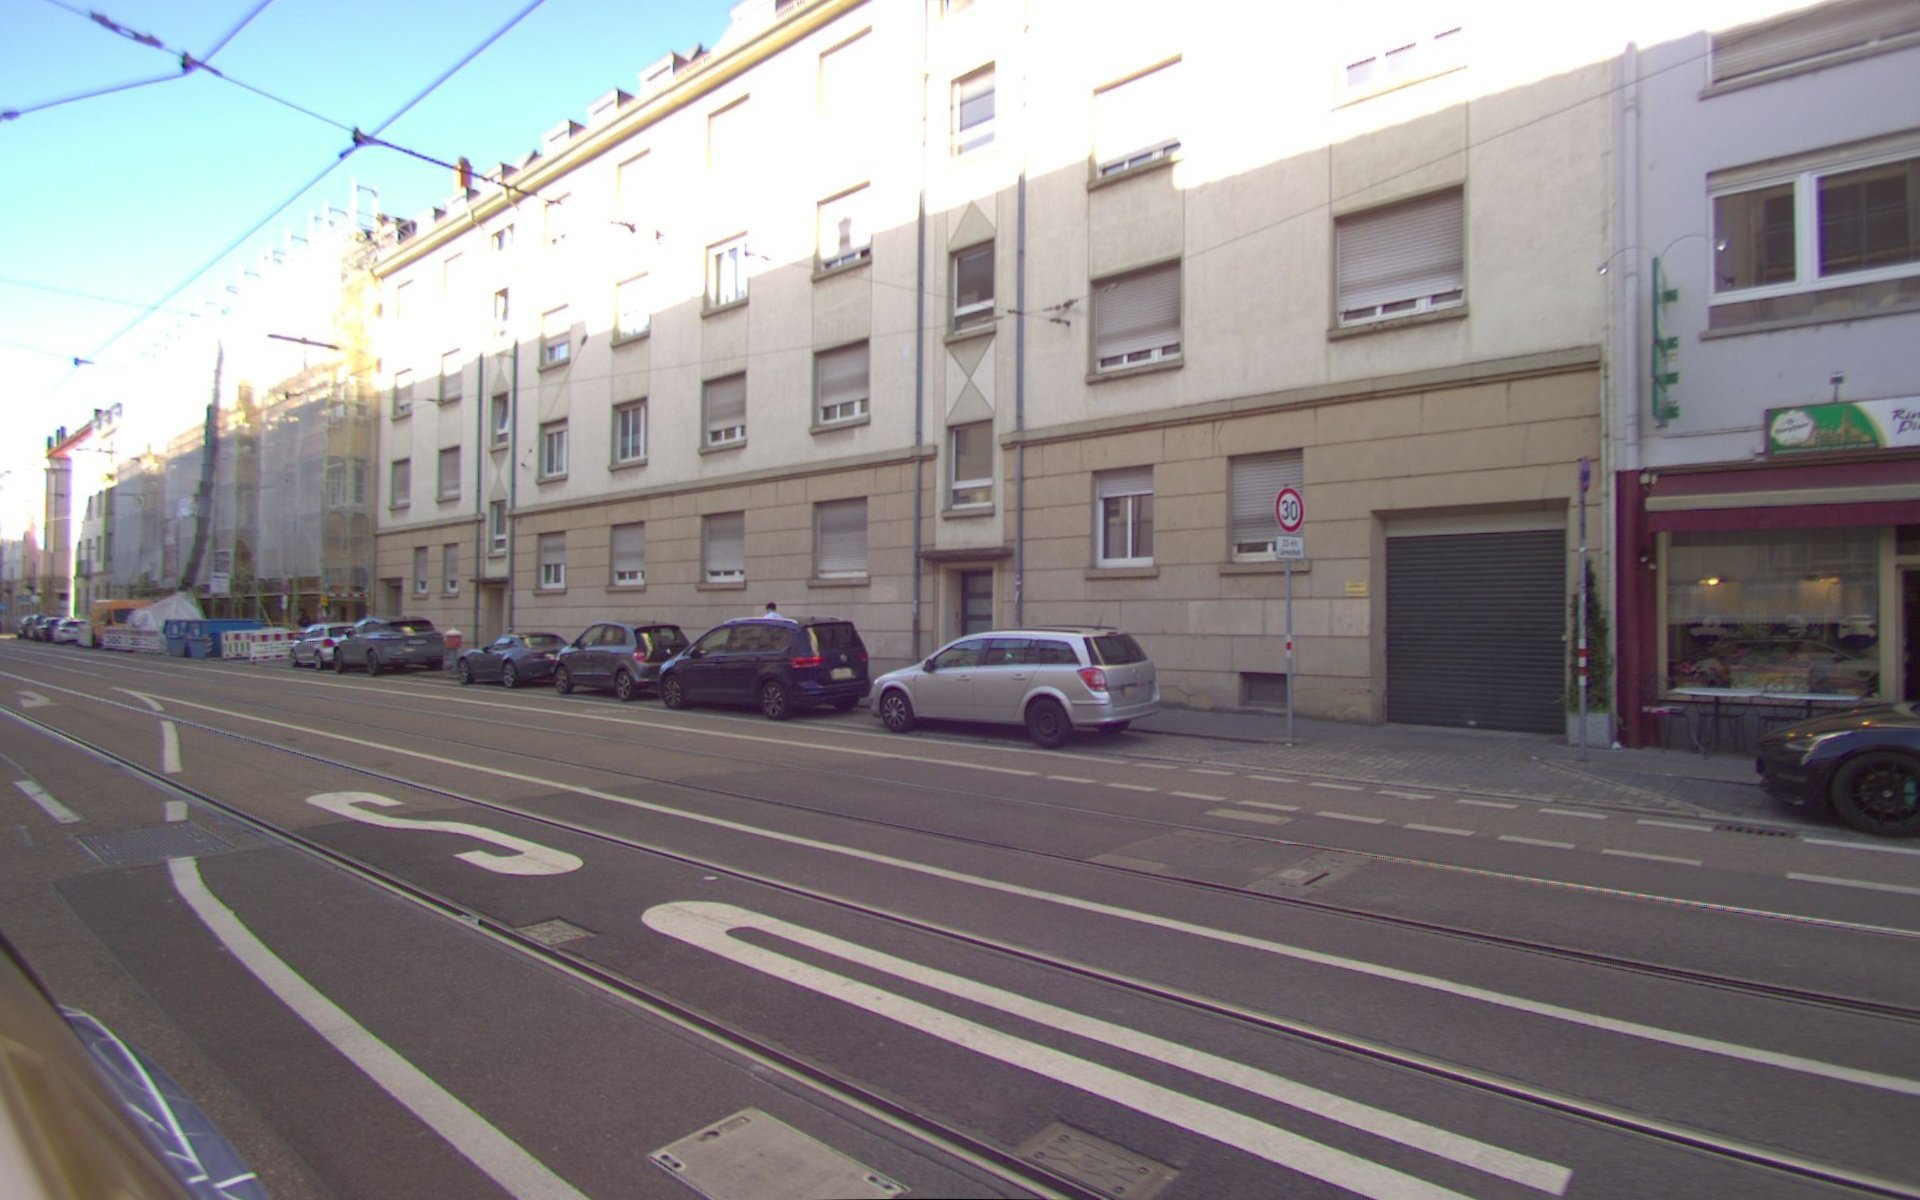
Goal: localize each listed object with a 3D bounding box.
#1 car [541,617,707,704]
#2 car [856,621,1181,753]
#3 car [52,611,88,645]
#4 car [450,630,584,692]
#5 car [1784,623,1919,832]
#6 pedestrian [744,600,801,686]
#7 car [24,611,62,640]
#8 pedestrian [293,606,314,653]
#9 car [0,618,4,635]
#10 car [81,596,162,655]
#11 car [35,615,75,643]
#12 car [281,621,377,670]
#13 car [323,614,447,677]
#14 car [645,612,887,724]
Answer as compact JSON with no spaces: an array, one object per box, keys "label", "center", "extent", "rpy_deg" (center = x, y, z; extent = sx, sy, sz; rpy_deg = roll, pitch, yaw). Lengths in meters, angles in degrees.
[{"label":"car","center":[-6.955,1.168,20.828],"extent":[3.594,1.570,1.622],"rpy_deg":[0,1,41]},{"label":"car","center":[0.697,1.084,14.103],"extent":[4.367,1.465,1.708],"rpy_deg":[0,1,40]},{"label":"car","center":[-54.472,1.692,61.933],"extent":[1.634,1.937,3.770],"rpy_deg":[-1,0,-42]},{"label":"car","center":[-10.470,1.382,23.820],"extent":[3.521,1.229,1.457],"rpy_deg":[0,1,40]},{"label":"car","center":[8.766,0.957,7.202],"extent":[4.443,1.486,1.750],"rpy_deg":[0,0,41]},{"label":"pedestrian","center":[-3.978,0.894,21.437],"extent":[1.003,1.781,0.656],"rpy_deg":[-1,0,34]},{"label":"car","center":[-63.611,1.737,70.183],"extent":[4.183,1.971,1.549],"rpy_deg":[0,0,42]},{"label":"pedestrian","center":[-26.358,1.175,40.615],"extent":[0.762,1.886,0.512],"rpy_deg":[-1,0,41]},{"label":"car","center":[-90.659,2.461,94.069],"extent":[4.959,1.538,2.202],"rpy_deg":[0,0,42]},{"label":"car","center":[-41.390,1.187,49.910],"extent":[5.871,2.717,2.186],"rpy_deg":[0,0,41]},{"label":"car","center":[-58.880,1.858,65.819],"extent":[3.936,1.696,1.549],"rpy_deg":[0,0,42]},{"label":"car","center":[-20.170,1.401,32.318],"extent":[3.505,1.390,1.545],"rpy_deg":[0,1,40]},{"label":"car","center":[-16.682,1.262,29.297],"extent":[4.155,1.621,1.730],"rpy_deg":[0,1,40]},{"label":"car","center":[-3.452,1.071,17.597],"extent":[4.321,1.645,1.796],"rpy_deg":[0,1,40]}]
